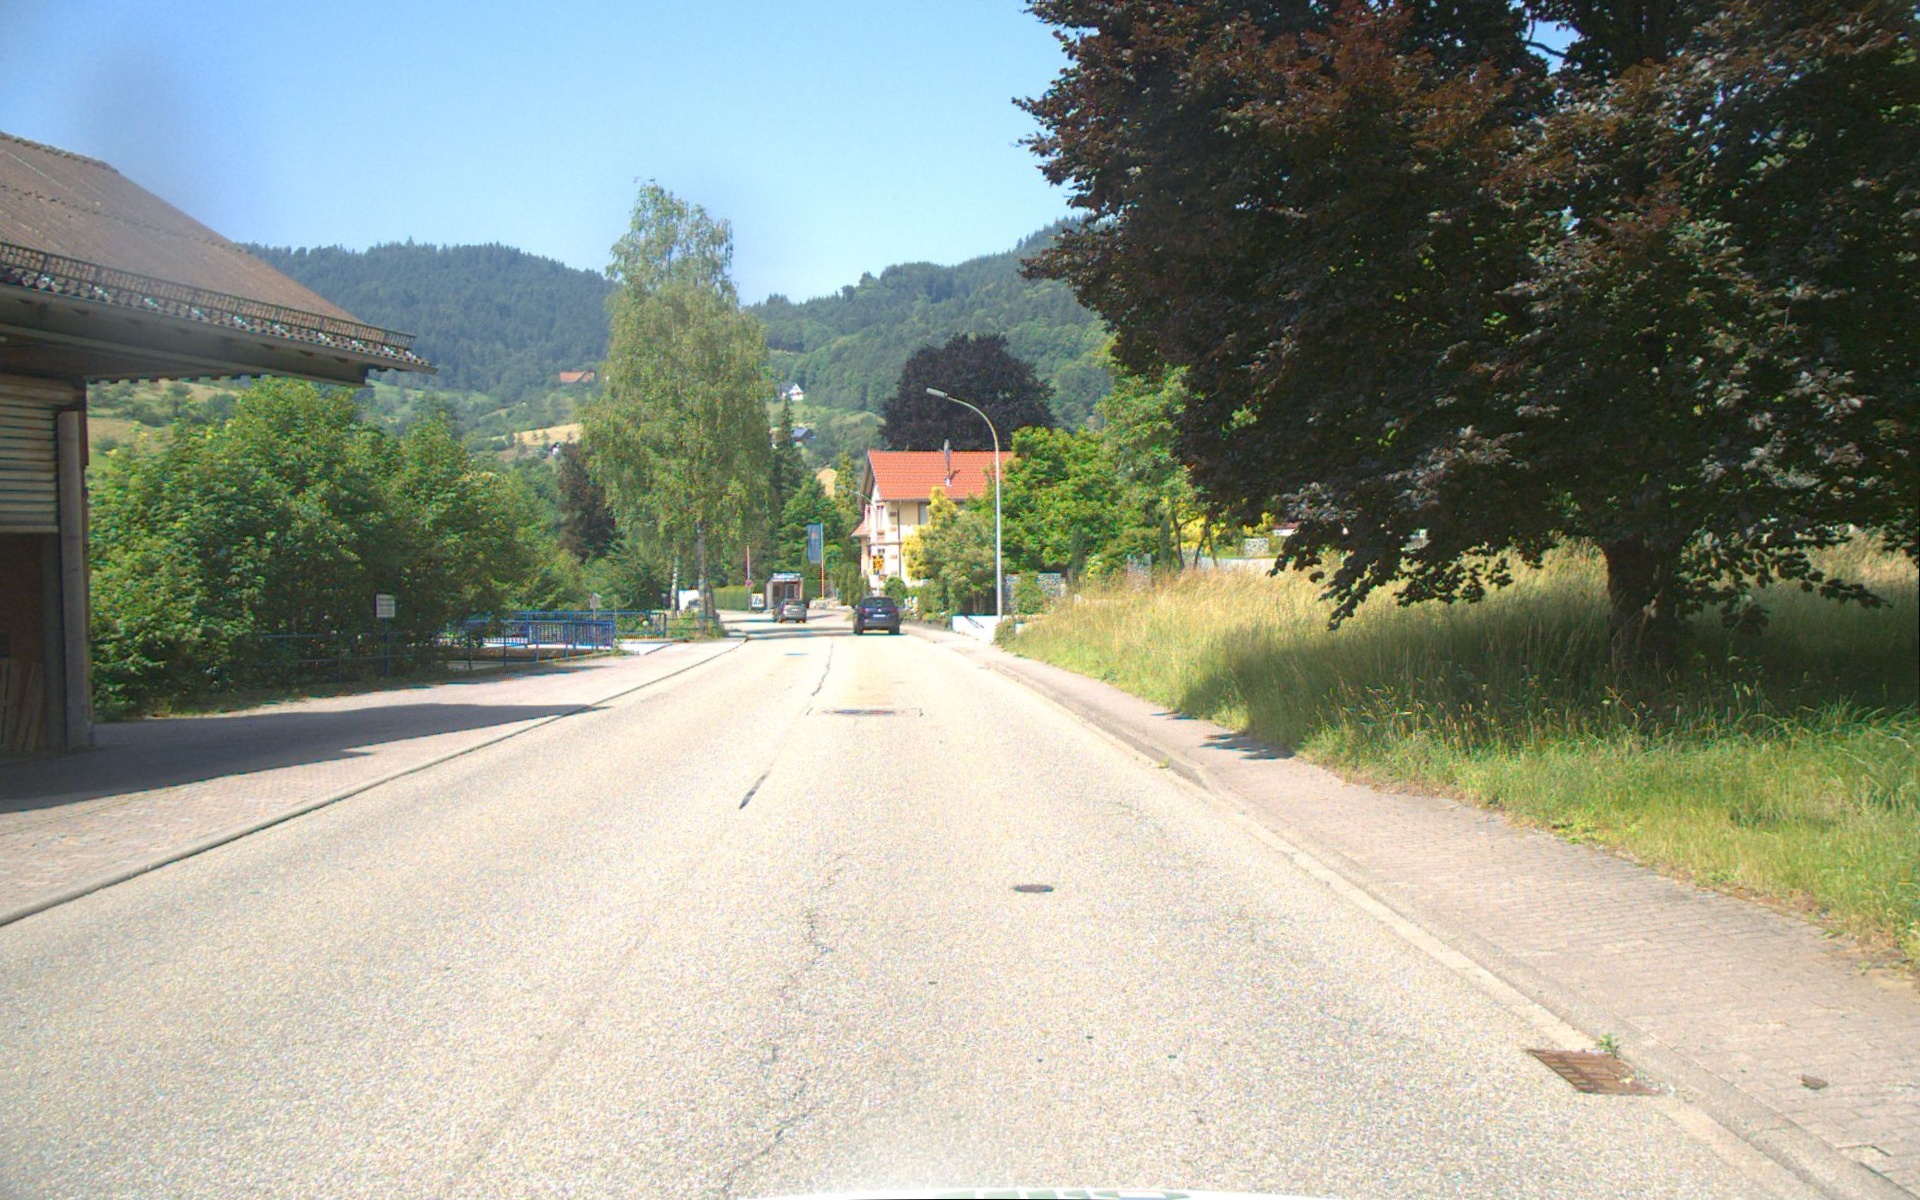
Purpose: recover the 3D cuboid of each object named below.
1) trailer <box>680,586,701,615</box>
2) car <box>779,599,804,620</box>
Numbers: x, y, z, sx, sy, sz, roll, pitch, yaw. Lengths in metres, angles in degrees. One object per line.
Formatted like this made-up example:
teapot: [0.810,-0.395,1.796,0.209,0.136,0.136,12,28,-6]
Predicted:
trailer: [-20.405,0.040,125.166,1.440,2.114,3.661,-2,0,-10]
car: [-10.640,0.618,104.275,1.448,1.230,2.382,-2,0,-4]
